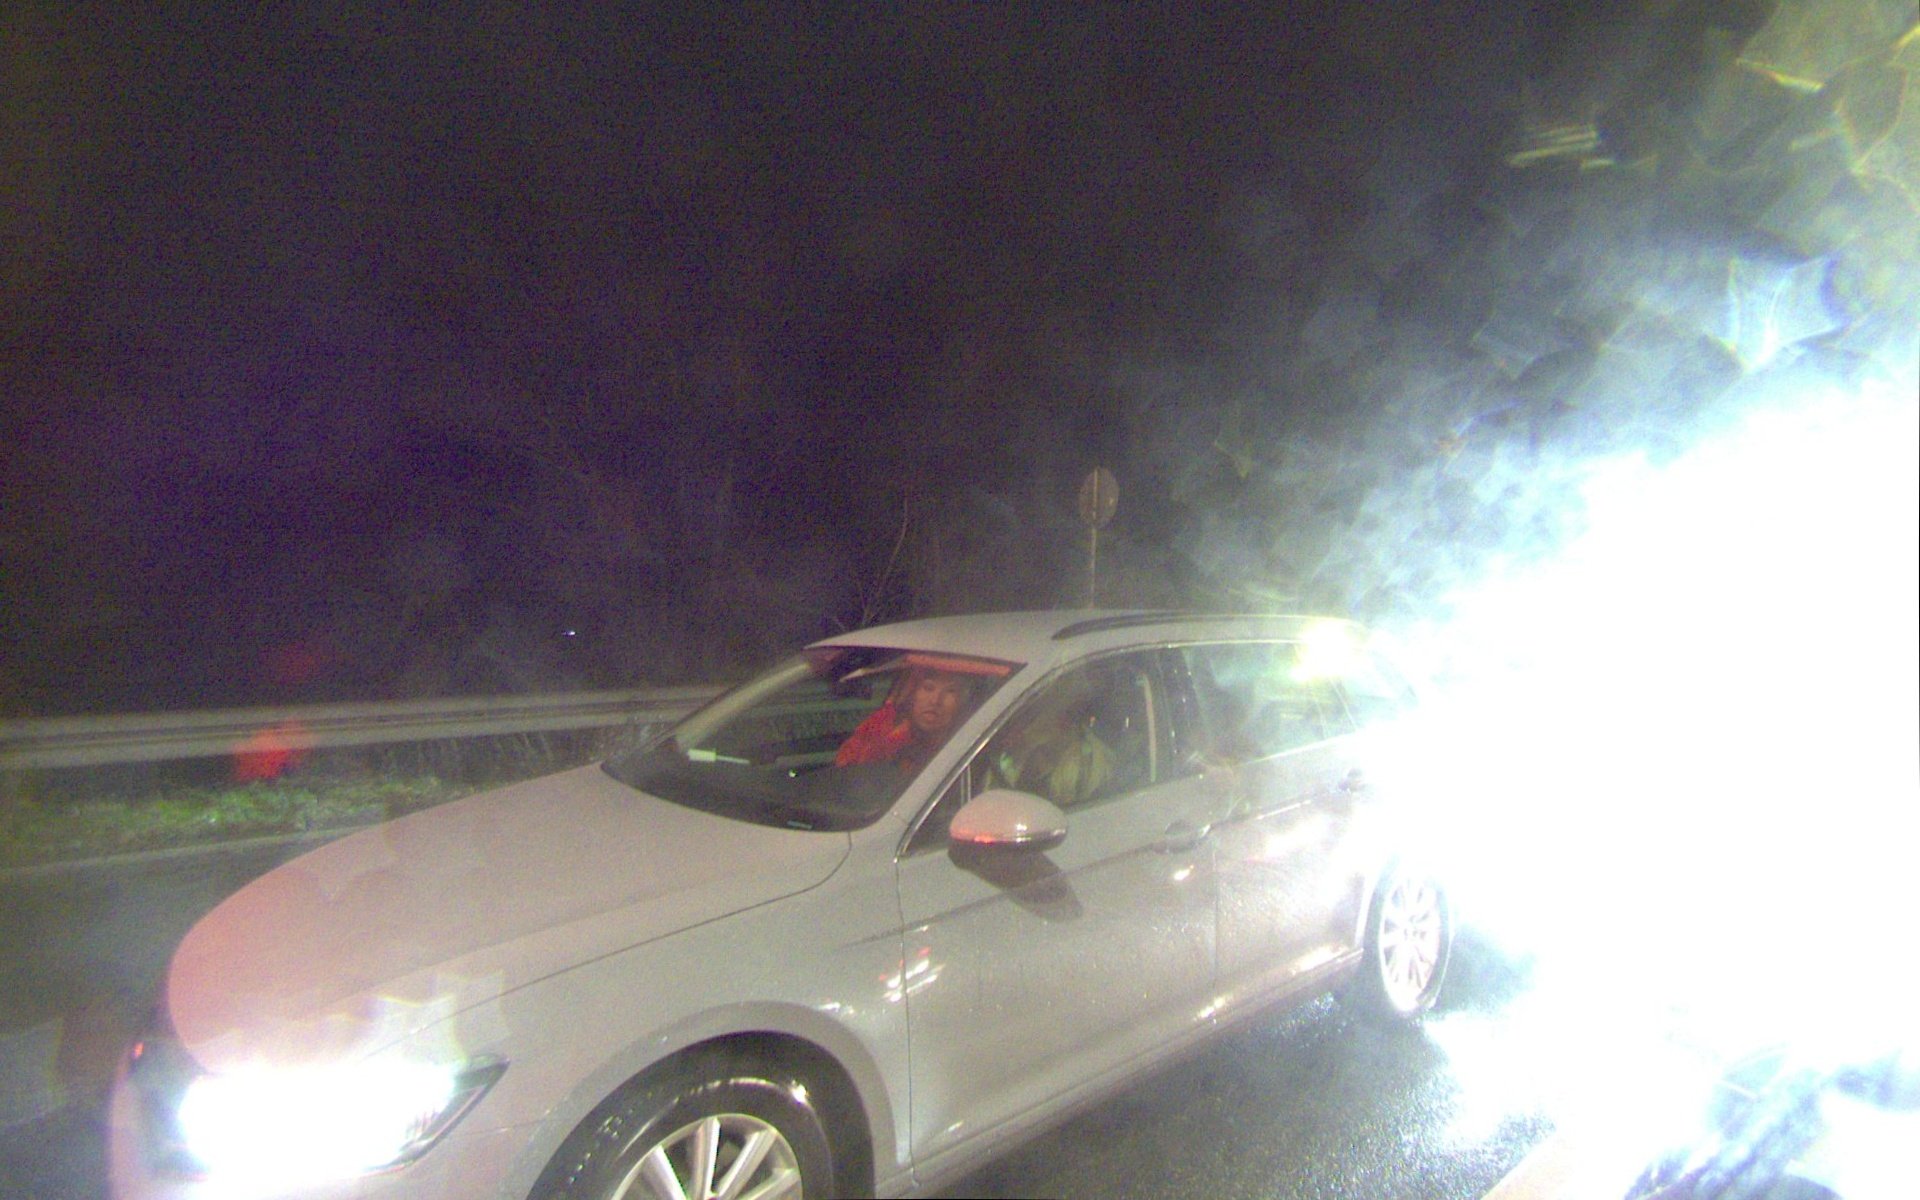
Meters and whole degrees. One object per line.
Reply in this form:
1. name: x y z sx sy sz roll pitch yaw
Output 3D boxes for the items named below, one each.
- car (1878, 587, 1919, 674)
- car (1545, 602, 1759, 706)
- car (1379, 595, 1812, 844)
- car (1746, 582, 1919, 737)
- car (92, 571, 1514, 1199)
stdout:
1. car: 19.853 0.564 20.009 4.315 1.618 1.997 -1 2 -41
2. car: 11.804 0.831 17.161 4.263 1.500 1.996 -1 -1 -42
3. car: 5.141 0.696 7.968 4.067 1.435 1.742 -1 0 -40
4. car: 11.467 0.606 12.477 4.315 1.618 1.997 -1 2 -41
5. car: 0.028 0.708 3.329 4.336 1.541 1.710 -1 0 -40
